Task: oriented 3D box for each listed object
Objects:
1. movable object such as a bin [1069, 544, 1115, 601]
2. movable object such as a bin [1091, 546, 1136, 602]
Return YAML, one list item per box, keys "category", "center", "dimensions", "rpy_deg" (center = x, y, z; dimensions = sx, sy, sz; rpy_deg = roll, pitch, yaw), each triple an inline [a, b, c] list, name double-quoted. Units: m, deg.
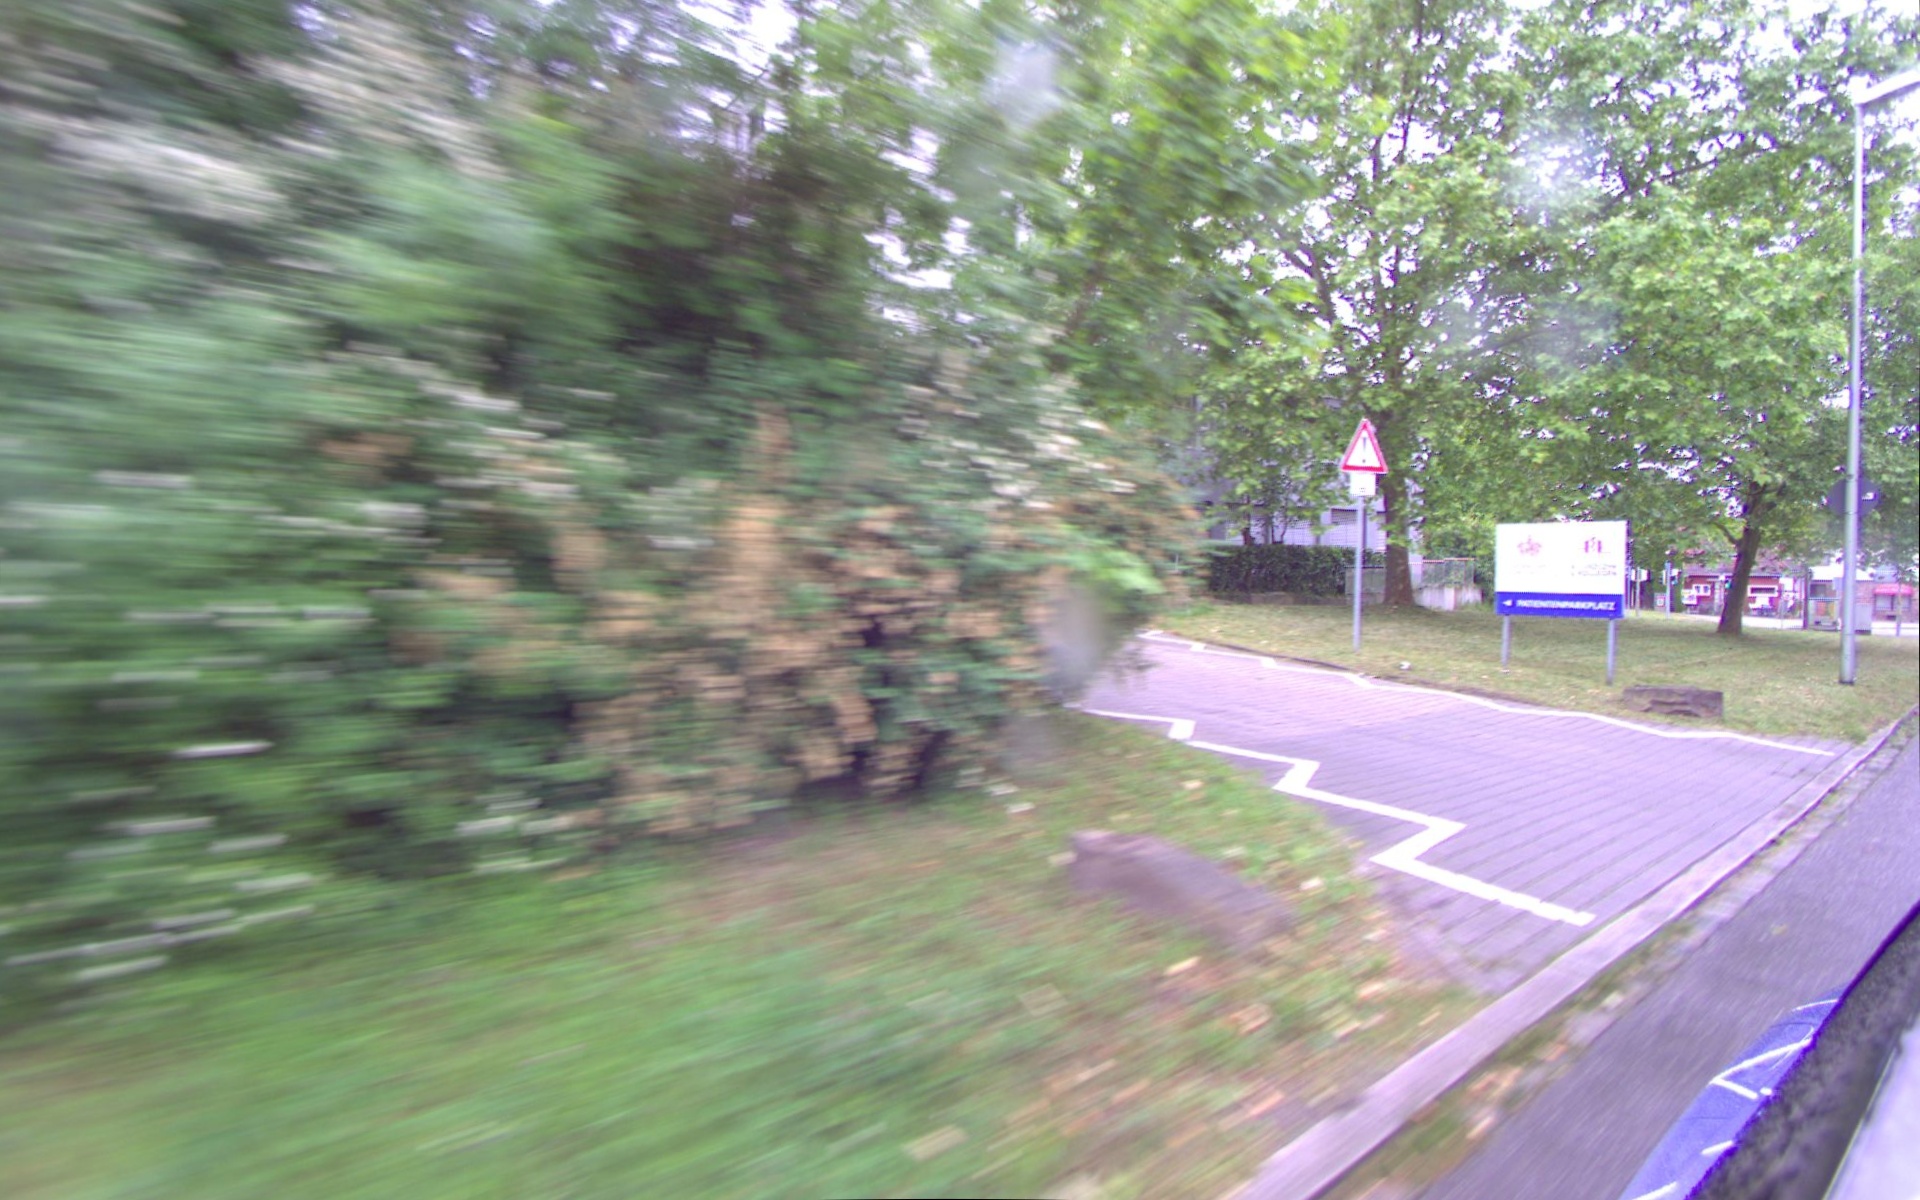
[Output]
- category: "movable object such as a bin"
  center: [2.698, -0.554, 20.650]
  dimensions: [0.668, 1.134, 0.652]
  rpy_deg: [-2, -1, 43]
- category: "movable object such as a bin"
  center: [3.224, -0.542, 21.214]
  dimensions: [0.668, 1.134, 0.652]
  rpy_deg: [-2, -1, 43]
